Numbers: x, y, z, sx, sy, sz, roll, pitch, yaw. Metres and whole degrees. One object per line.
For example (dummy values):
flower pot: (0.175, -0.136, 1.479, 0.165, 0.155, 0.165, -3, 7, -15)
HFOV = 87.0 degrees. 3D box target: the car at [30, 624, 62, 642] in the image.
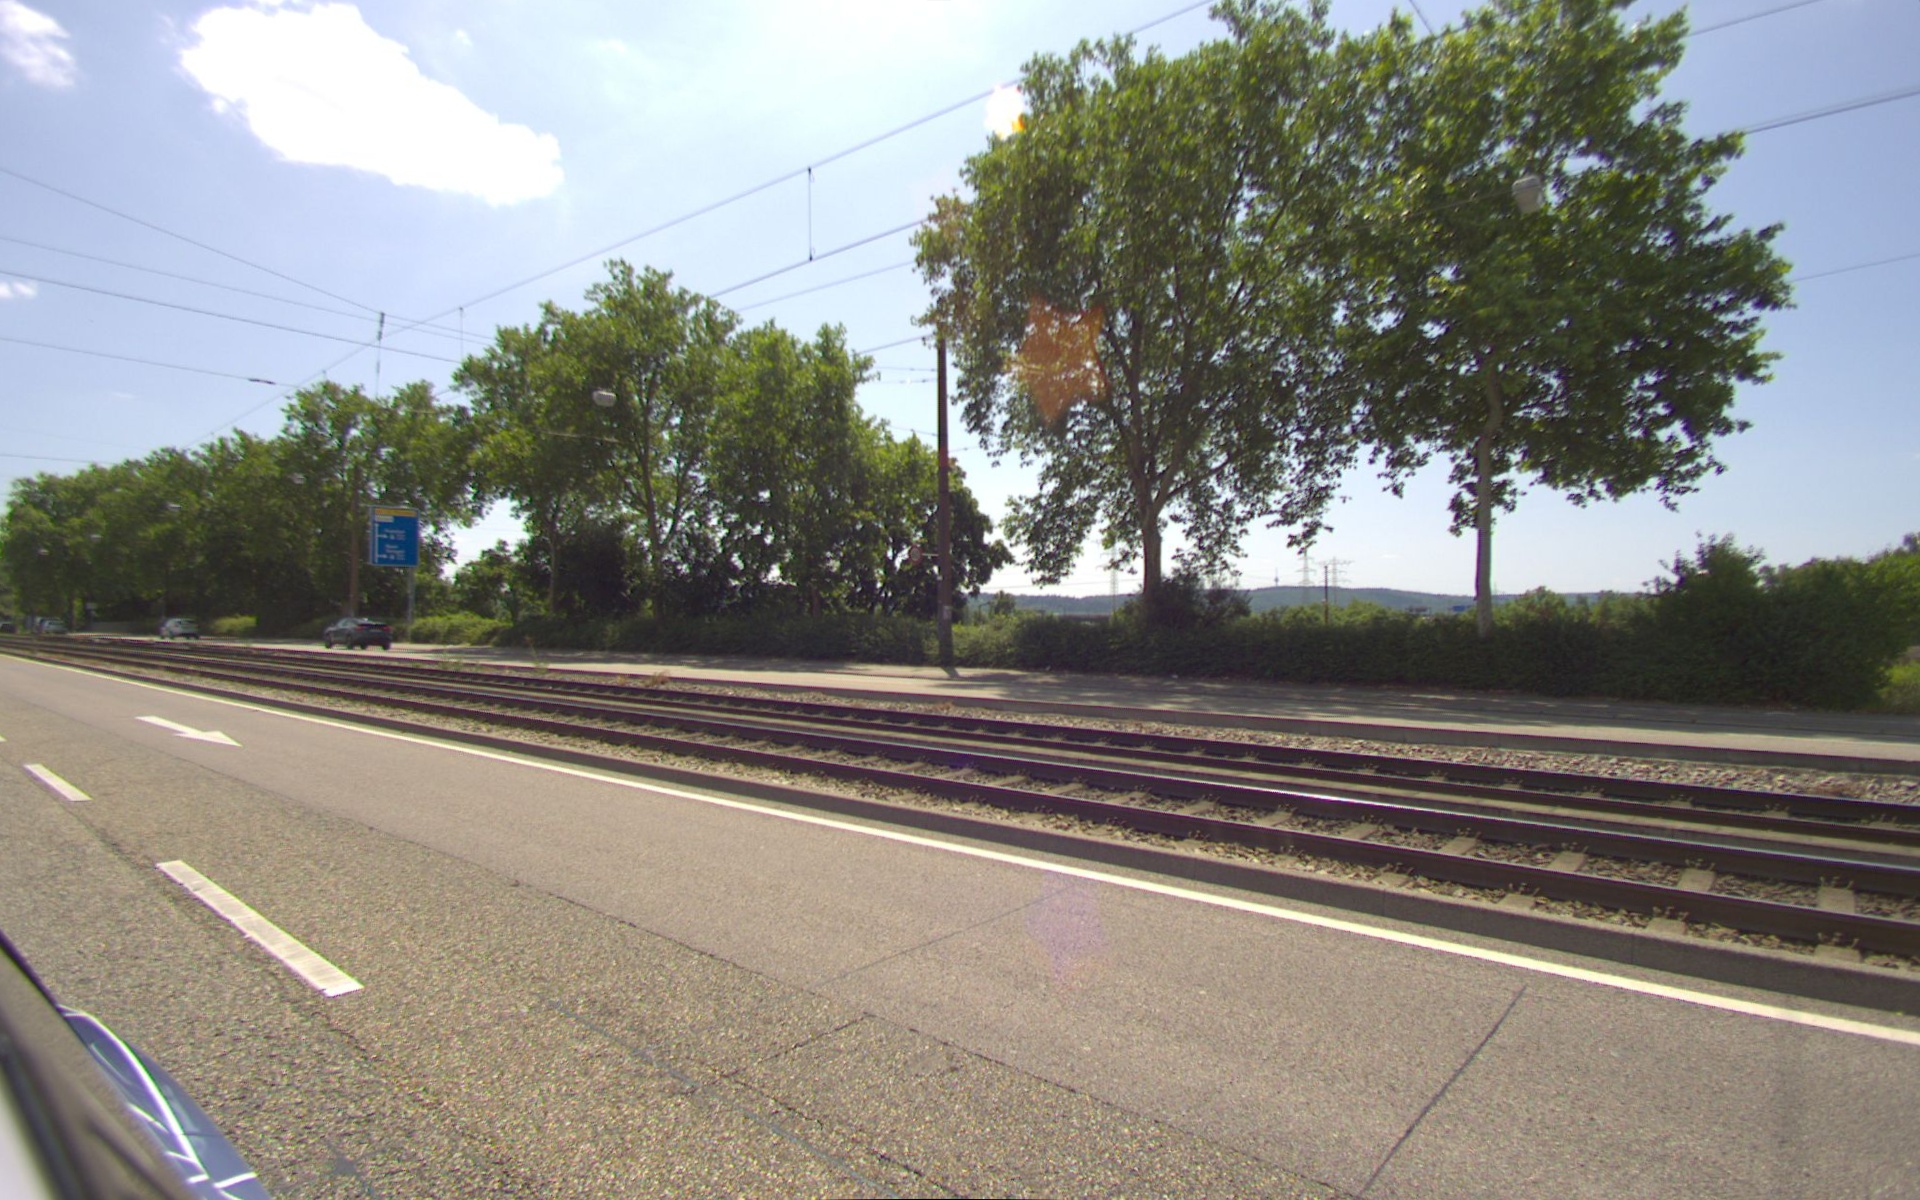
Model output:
car: (-87.579, 3.154, 96.956, 4.055, 1.596, 1.668, -1, -4, 40)

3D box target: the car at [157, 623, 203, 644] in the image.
car: (-54.761, 2.339, 71.035, 3.882, 1.426, 1.803, -1, -4, 41)

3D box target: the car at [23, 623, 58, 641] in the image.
car: (-97.243, 3.389, 106.991, 4.965, 1.845, 1.973, -1, -4, 40)

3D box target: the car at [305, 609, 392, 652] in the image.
car: (-28.881, 1.415, 47.780, 4.402, 1.932, 1.976, -1, -1, 36)

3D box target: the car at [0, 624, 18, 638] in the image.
car: (-121.539, 3.925, 128.563, 4.462, 1.683, 1.974, -1, -3, 39)
